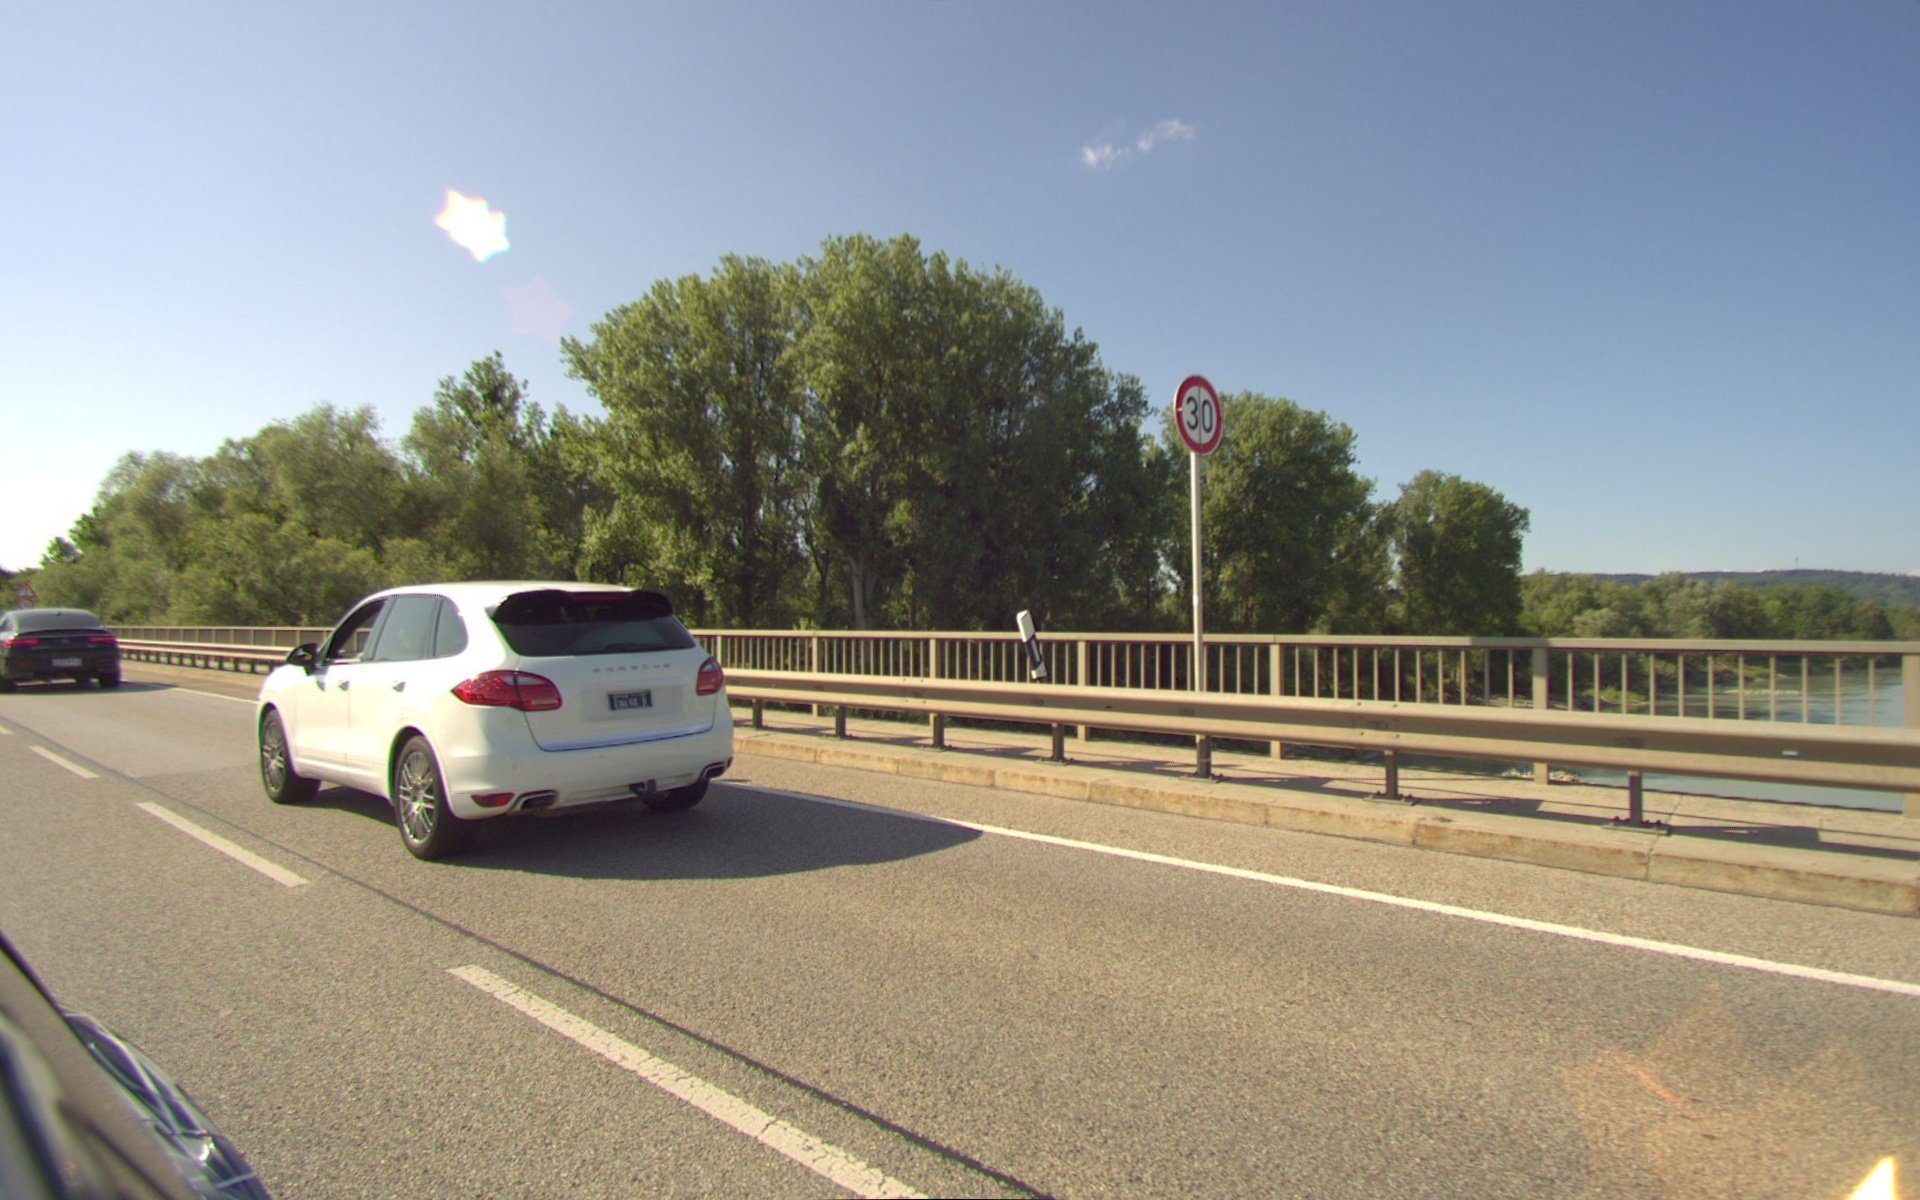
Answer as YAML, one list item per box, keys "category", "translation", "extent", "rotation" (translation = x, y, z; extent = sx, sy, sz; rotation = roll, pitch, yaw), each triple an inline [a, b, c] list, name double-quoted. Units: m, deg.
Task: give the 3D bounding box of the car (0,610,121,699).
- category: "car"
  translation: [-19.920, 1.123, 21.932]
  extent: [4.474, 1.706, 1.929]
  rotation: [-2, 0, 41]

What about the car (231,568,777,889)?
- category: "car"
  translation: [-3.595, 0.699, 7.514]
  extent: [4.595, 1.664, 1.963]
  rotation: [-2, 0, 41]
